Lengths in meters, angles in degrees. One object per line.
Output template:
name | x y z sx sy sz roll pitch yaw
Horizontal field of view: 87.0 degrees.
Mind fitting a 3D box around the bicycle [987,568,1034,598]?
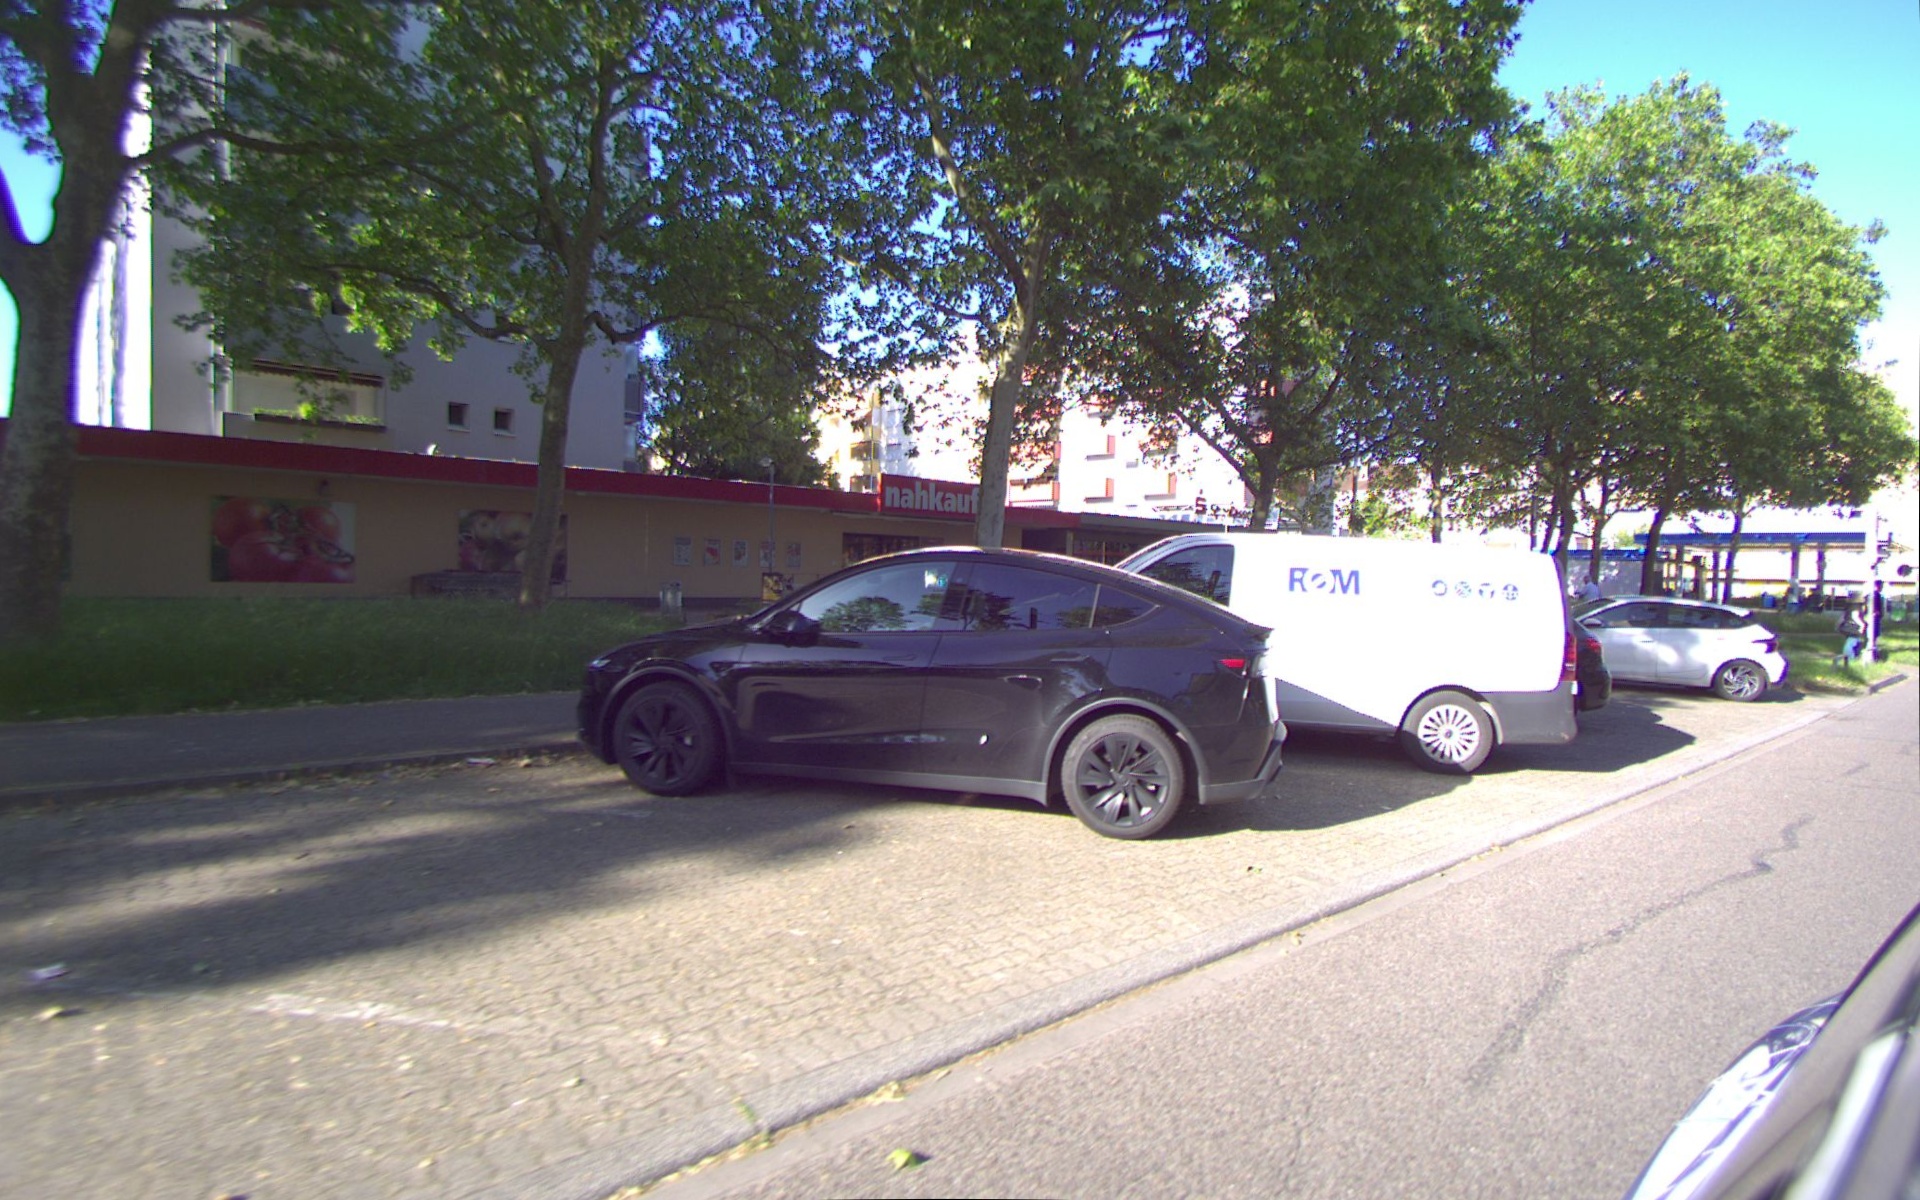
bicycle | 2.057 -0.687 41.434 1.811 1.194 0.600 0 0 -19

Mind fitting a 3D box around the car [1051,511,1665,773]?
car | 3.217 0.250 9.036 4.596 1.875 1.826 3 2 11

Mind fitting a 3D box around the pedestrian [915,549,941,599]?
pedestrian | -1.126 -0.899 35.328 0.495 1.721 0.704 3 1 44

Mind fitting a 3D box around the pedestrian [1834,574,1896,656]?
pedestrian | 19.992 0.318 22.368 0.702 1.726 0.651 3 3 16

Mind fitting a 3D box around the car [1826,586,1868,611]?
car | 55.954 -0.134 63.787 1.721 1.481 3.941 3 2 45

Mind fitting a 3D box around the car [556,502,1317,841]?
car | -0.153 0.321 6.727 4.429 1.725 1.757 3 2 9

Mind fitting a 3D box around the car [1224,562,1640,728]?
car | 5.144 0.406 11.627 3.940 1.447 1.792 4 3 14

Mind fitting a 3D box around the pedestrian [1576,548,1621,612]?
pedestrian | 17.909 -0.563 28.380 0.816 1.743 0.843 0 2 -43

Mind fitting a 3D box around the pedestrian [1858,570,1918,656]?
pedestrian | 21.392 0.289 23.327 0.911 1.908 0.800 1 1 -36

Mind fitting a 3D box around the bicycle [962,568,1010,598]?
bicycle | 1.037 -0.680 40.312 1.812 1.194 0.600 1 0 -12

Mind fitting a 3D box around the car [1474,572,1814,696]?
car | 10.394 0.444 15.760 3.948 1.487 1.750 4 3 19

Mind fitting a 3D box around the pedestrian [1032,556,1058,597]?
pedestrian | 3.401 -0.930 40.406 0.671 1.604 0.704 3 1 45

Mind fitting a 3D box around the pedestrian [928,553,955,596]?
pedestrian | -0.648 -0.888 34.995 0.531 1.448 0.704 3 1 44
